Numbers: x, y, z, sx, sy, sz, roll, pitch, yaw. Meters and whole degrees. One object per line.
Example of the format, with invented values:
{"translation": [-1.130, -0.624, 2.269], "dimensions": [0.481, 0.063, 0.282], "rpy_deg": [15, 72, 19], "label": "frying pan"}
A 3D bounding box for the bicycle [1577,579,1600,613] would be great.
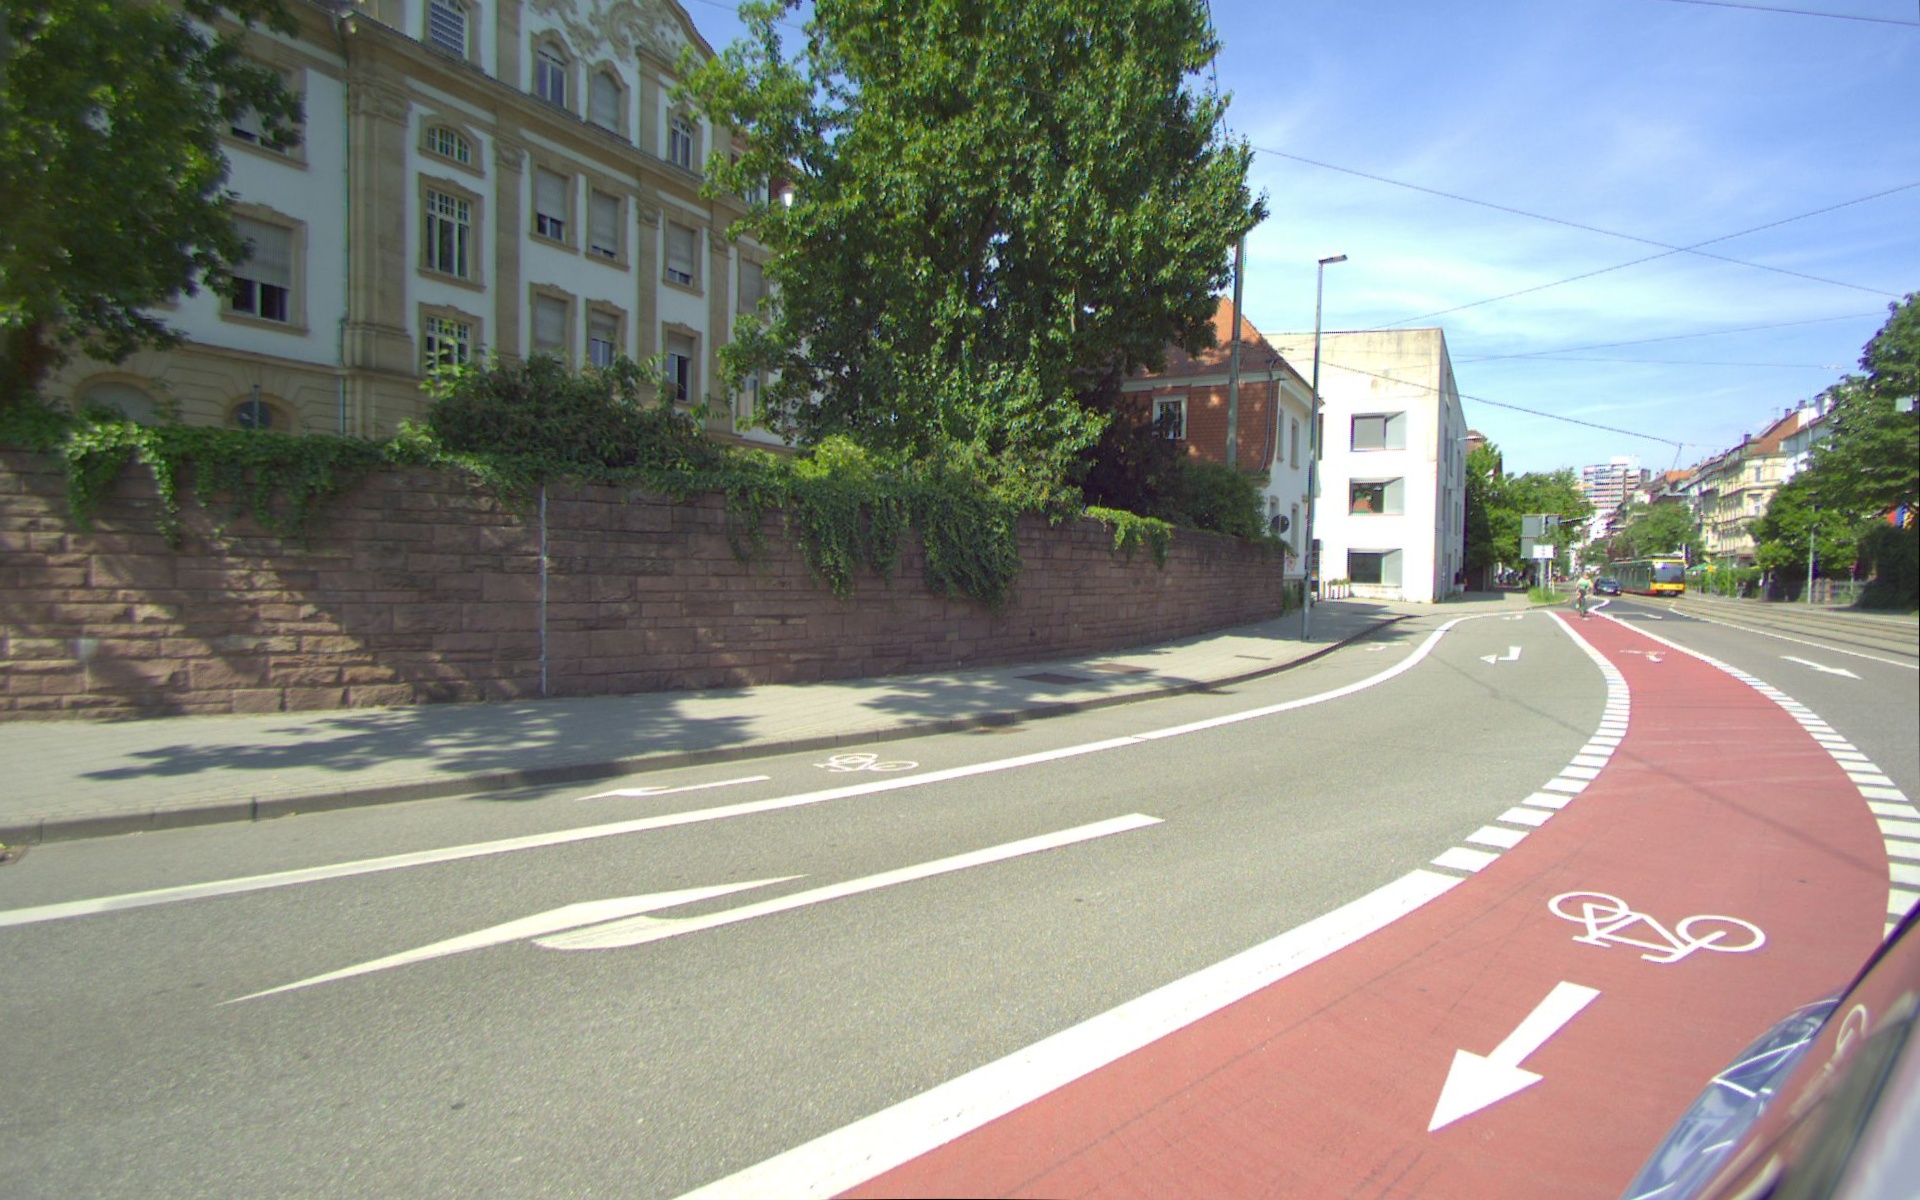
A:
{"translation": [23.979, -0.181, 38.610], "dimensions": [0.681, 1.237, 2.162], "rpy_deg": [2, 2, 31], "label": "bicycle"}

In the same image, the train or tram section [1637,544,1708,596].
{"translation": [59.421, -2.492, 84.732], "dimensions": [3.188, 3.908, 14.440], "rpy_deg": [2, 2, 29], "label": "train or tram section"}

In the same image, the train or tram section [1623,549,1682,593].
{"translation": [66.367, -2.799, 97.311], "dimensions": [3.188, 3.908, 14.440], "rpy_deg": [2, 2, 29], "label": "train or tram section"}

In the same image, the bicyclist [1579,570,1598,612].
{"translation": [24.027, -0.340, 38.691], "dimensions": [0.584, 1.567, 0.921], "rpy_deg": [0, 0, 32], "label": "bicyclist"}

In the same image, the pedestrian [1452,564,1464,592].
{"translation": [28.243, -1.259, 57.347], "dimensions": [0.544, 1.587, 0.922], "rpy_deg": [2, 2, 28], "label": "pedestrian"}

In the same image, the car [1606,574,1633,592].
{"translation": [53.767, -1.420, 82.495], "dimensions": [1.790, 1.393, 4.226], "rpy_deg": [3, 3, 33], "label": "car"}

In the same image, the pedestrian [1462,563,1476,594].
{"translation": [28.727, -1.233, 57.110], "dimensions": [0.645, 1.728, 0.704], "rpy_deg": [2, 2, 29], "label": "pedestrian"}
